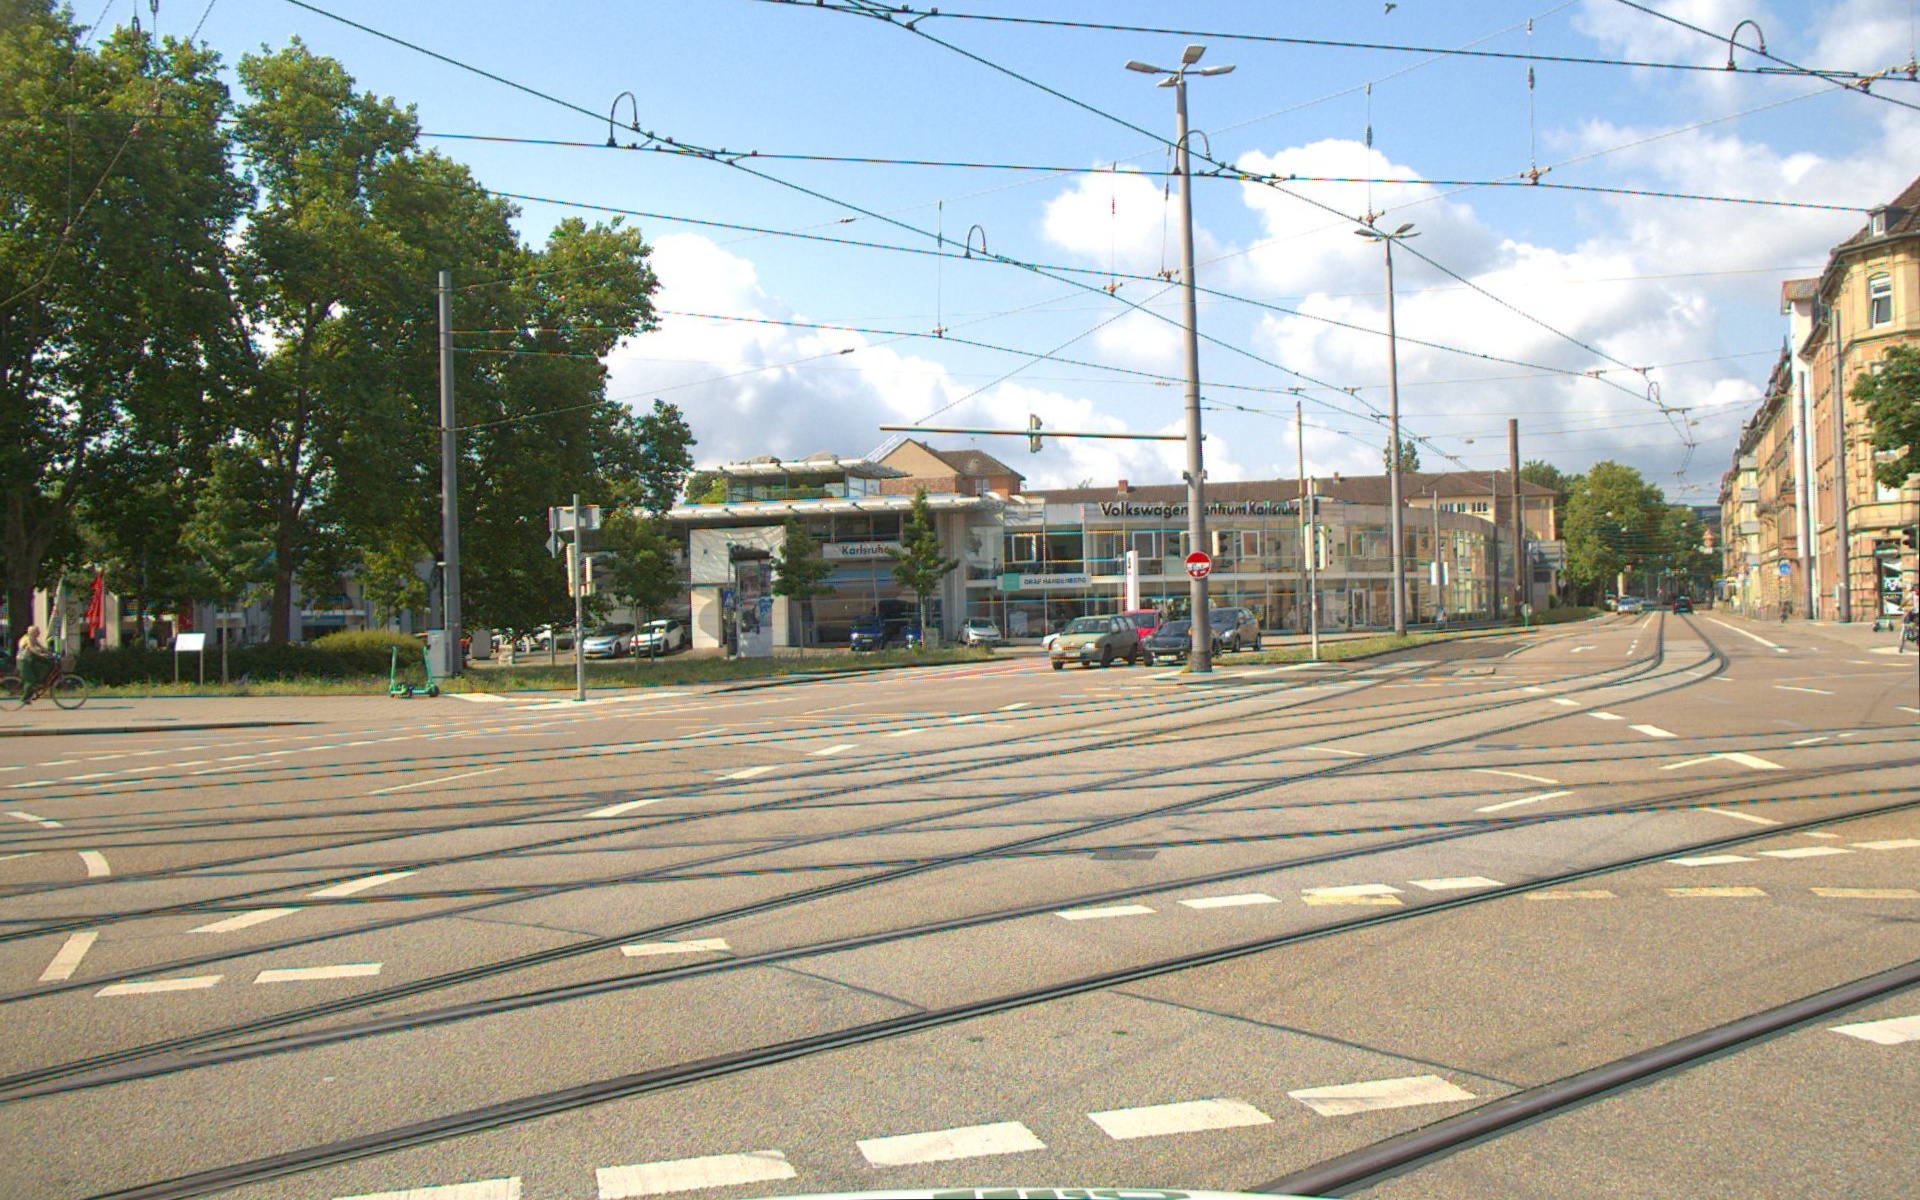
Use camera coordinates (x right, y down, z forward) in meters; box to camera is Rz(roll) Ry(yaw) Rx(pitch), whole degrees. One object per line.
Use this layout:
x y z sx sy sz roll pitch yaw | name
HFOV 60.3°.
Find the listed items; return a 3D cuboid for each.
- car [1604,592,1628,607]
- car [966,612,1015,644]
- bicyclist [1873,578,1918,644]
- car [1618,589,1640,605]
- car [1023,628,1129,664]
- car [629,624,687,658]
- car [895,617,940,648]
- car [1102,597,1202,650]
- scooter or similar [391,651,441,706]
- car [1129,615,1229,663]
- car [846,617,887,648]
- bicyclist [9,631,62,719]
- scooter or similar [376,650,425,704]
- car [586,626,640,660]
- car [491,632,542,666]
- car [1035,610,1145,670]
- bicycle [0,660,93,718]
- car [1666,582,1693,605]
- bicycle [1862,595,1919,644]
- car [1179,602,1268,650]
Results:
61.422 -0.065 154.873 1.952 1.355 4.000 -2 -1 21 | car
1.593 1.426 85.318 1.878 1.579 4.003 -2 -1 10 | car
24.098 0.268 42.623 0.767 1.687 1.198 0 1 17 | bicyclist
67.359 -0.333 166.606 1.952 1.517 4.000 1 1 21 | car
5.207 2.050 73.884 4.438 1.377 2.002 2 0 13 | car
-15.851 2.122 86.985 2.024 1.632 4.002 -2 -1 5 | car
-2.125 1.622 83.994 1.879 1.470 4.002 -2 -1 3 | car
6.068 0.706 51.840 1.954 1.545 3.998 2 1 24 | car
-12.286 1.769 37.363 0.375 1.177 0.923 7 3 43 | scooter or similar
6.040 1.031 45.271 1.589 1.181 3.998 2 1 24 | car
-4.751 1.635 84.597 1.881 1.470 3.999 -2 -1 -1 | car
-19.252 1.557 34.466 0.813 1.775 0.708 1 0 -20 | bicyclist
-12.747 1.752 37.717 0.919 1.177 0.377 4 2 -36 | scooter or similar
-18.305 2.268 87.431 1.952 1.601 4.000 2 1 1 | car
-23.638 2.612 88.262 1.647 1.624 4.000 2 1 -1 | car
3.688 1.075 46.167 1.784 1.539 3.998 2 1 24 | car
-19.241 1.858 34.480 1.956 1.147 0.785 1 0 -20 | bicycle
65.558 -0.584 150.650 1.955 2.049 3.996 -2 -1 27 | car
24.063 0.486 42.661 0.879 1.191 2.682 0 1 17 | bicycle
9.436 0.915 59.049 1.955 1.579 3.995 -2 -1 27 | car
